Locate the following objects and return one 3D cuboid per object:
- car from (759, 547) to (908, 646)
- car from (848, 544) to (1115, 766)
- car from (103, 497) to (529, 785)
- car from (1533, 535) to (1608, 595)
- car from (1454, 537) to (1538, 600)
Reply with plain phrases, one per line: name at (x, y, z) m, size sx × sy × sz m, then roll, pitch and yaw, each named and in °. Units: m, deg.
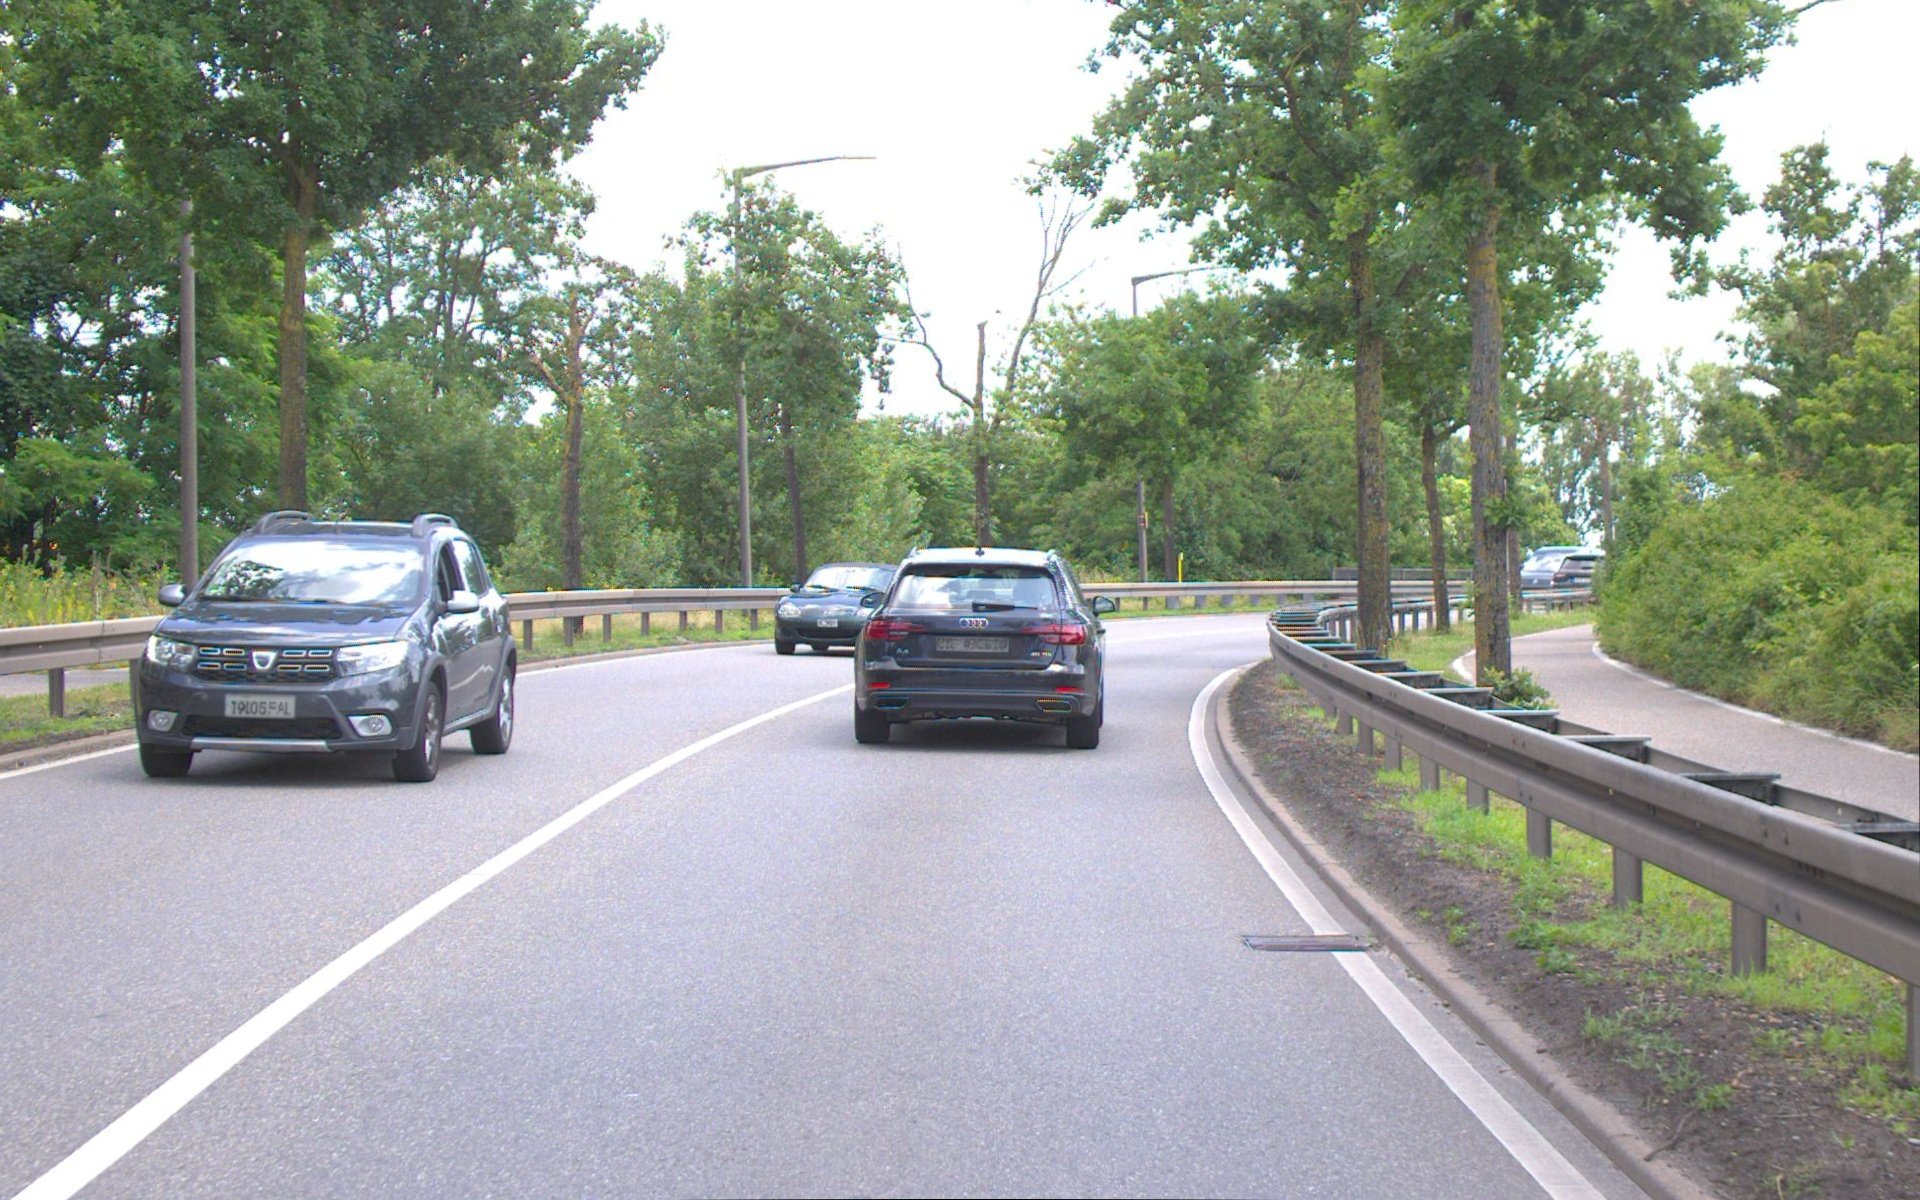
car at (-1.642, -0.068, 45.616) m, size 1.592 × 1.214 × 3.790 m, roll 2°, pitch 1°, yaw 3°
car at (0.197, 0.350, 26.026) m, size 1.828 × 1.486 × 4.207 m, roll 1°, pitch 1°, yaw 1°
car at (-3.922, 0.192, 21.611) m, size 1.780 × 1.601 × 4.158 m, roll 1°, pitch 1°, yaw 1°
car at (15.920, -0.934, 89.584) m, size 1.579 × 1.515 × 3.997 m, roll 0°, pitch 1°, yaw 15°
car at (15.319, -0.888, 98.122) m, size 1.854 × 1.703 × 4.309 m, roll 2°, pitch 1°, yaw 15°
